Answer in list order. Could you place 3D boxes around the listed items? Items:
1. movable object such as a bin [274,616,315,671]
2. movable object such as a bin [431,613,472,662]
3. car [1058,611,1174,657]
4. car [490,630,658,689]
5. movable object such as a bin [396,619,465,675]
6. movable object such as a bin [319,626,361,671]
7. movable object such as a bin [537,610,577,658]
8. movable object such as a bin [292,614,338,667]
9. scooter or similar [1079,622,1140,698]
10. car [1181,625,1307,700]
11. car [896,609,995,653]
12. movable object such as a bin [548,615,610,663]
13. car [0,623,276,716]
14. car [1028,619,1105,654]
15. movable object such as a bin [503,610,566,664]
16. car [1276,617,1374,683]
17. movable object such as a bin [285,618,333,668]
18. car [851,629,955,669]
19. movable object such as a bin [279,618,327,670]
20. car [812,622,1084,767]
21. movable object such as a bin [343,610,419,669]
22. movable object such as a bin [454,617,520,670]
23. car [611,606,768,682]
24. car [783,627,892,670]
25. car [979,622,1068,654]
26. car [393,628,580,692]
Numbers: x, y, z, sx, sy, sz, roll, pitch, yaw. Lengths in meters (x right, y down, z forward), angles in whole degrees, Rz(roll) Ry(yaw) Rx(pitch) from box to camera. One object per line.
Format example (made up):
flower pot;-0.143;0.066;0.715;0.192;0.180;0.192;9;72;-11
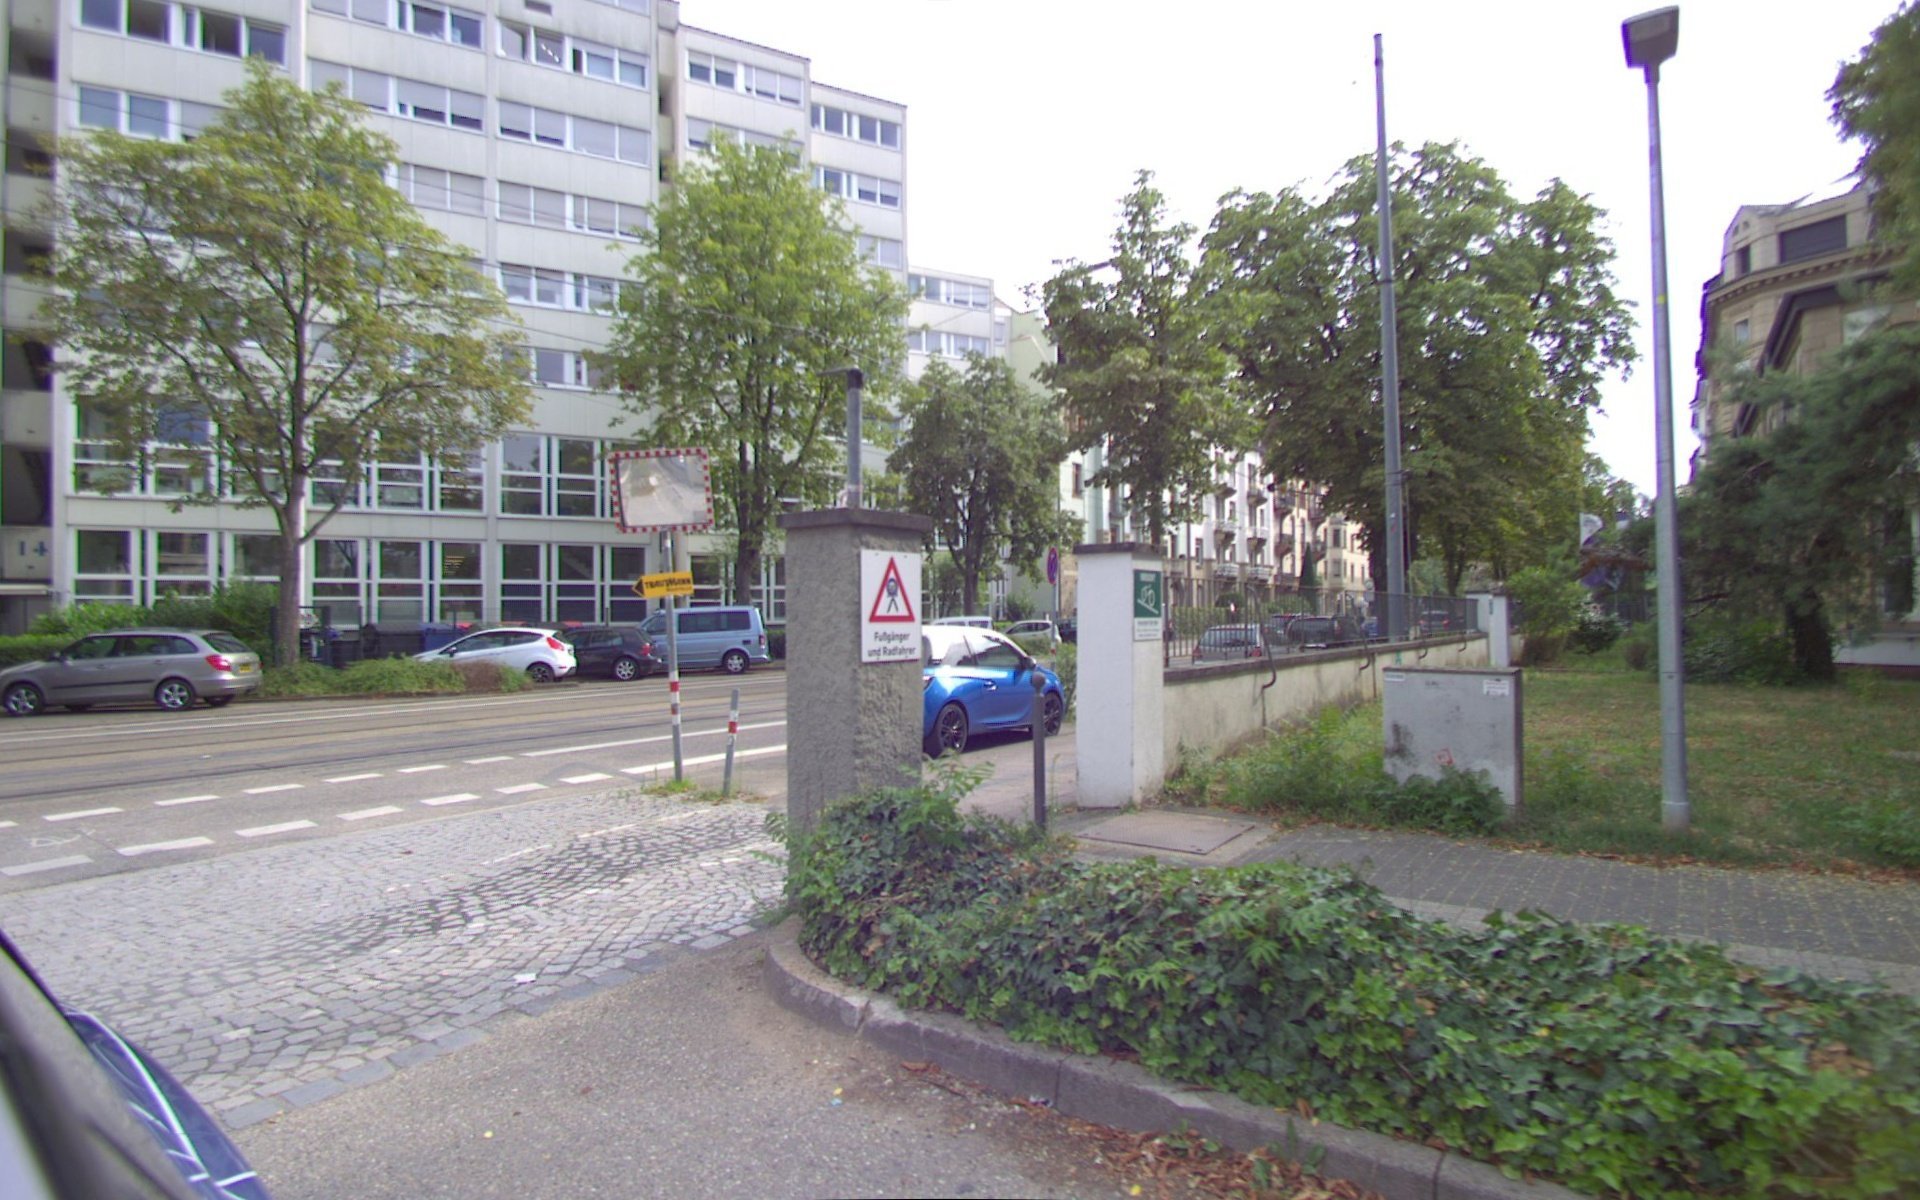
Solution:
movable object such as a bin;-17.752;1.141;26.994;0.897;1.417;1.027;0;-2;-34
movable object such as a bin;-16.452;1.194;32.769;1.154;1.525;1.184;0;-1;-27
car;7.802;1.676;51.006;5.355;2.192;2.151;-1;-1;-6
car;-10.136;1.557;26.845;3.908;1.398;1.818;-1;-3;-10
movable object such as a bin;-14.993;1.304;28.679;1.334;1.515;1.320;-2;-2;39
movable object such as a bin;-16.106;1.248;26.283;0.786;1.114;0.733;-2;-2;41
movable object such as a bin;-13.647;1.142;34.260;1.154;1.580;1.184;0;-1;-27
movable object such as a bin;-19.533;1.212;30.641;1.160;1.580;1.178;0;-1;-34
scooter or similar;2.385;0.964;16.185;0.363;1.176;1.008;0;-4;-31
car;6.289;1.302;22.177;1.629;1.476;3.532;-1;-1;34
car;-0.609;1.207;39.723;3.711;1.630;1.817;-1;-1;-6
movable object such as a bin;-12.146;1.227;32.258;1.334;1.469;1.382;-2;-2;39
car;-15.274;1.239;18.774;3.986;1.549;1.599;-1;-1;-11
car;5.115;1.732;48.378;3.604;1.601;1.763;-1;-1;9
movable object such as a bin;-13.039;1.128;31.016;1.334;1.608;1.336;-2;-2;39
car;9.986;1.297;27.539;1.656;1.646;3.682;-2;-1;34
movable object such as a bin;-18.922;1.232;29.403;1.160;1.380;1.178;0;-1;-34
car;-2.130;1.796;37.347;3.711;1.349;1.817;-1;-1;-6
movable object such as a bin;-18.317;1.200;28.206;1.100;1.402;1.066;0;-1;-34
car;-0.011;1.035;12.502;1.629;1.476;3.560;-1;-1;34
movable object such as a bin;-15.688;1.052;27.426;1.329;1.541;1.397;-2;-2;39
movable object such as a bin;-13.953;1.261;29.875;1.334;1.514;1.336;-2;-2;39
car;-7.769;1.252;29.489;4.275;2.079;2.004;0;-1;-11
car;-4.236;1.643;34.847;3.586;1.340;1.771;-1;-1;-10
car;2.822;1.674;45.297;3.586;1.340;1.771;-1;-1;-10
car;-11.253;1.394;24.269;3.798;1.403;1.638;0;-1;-11
